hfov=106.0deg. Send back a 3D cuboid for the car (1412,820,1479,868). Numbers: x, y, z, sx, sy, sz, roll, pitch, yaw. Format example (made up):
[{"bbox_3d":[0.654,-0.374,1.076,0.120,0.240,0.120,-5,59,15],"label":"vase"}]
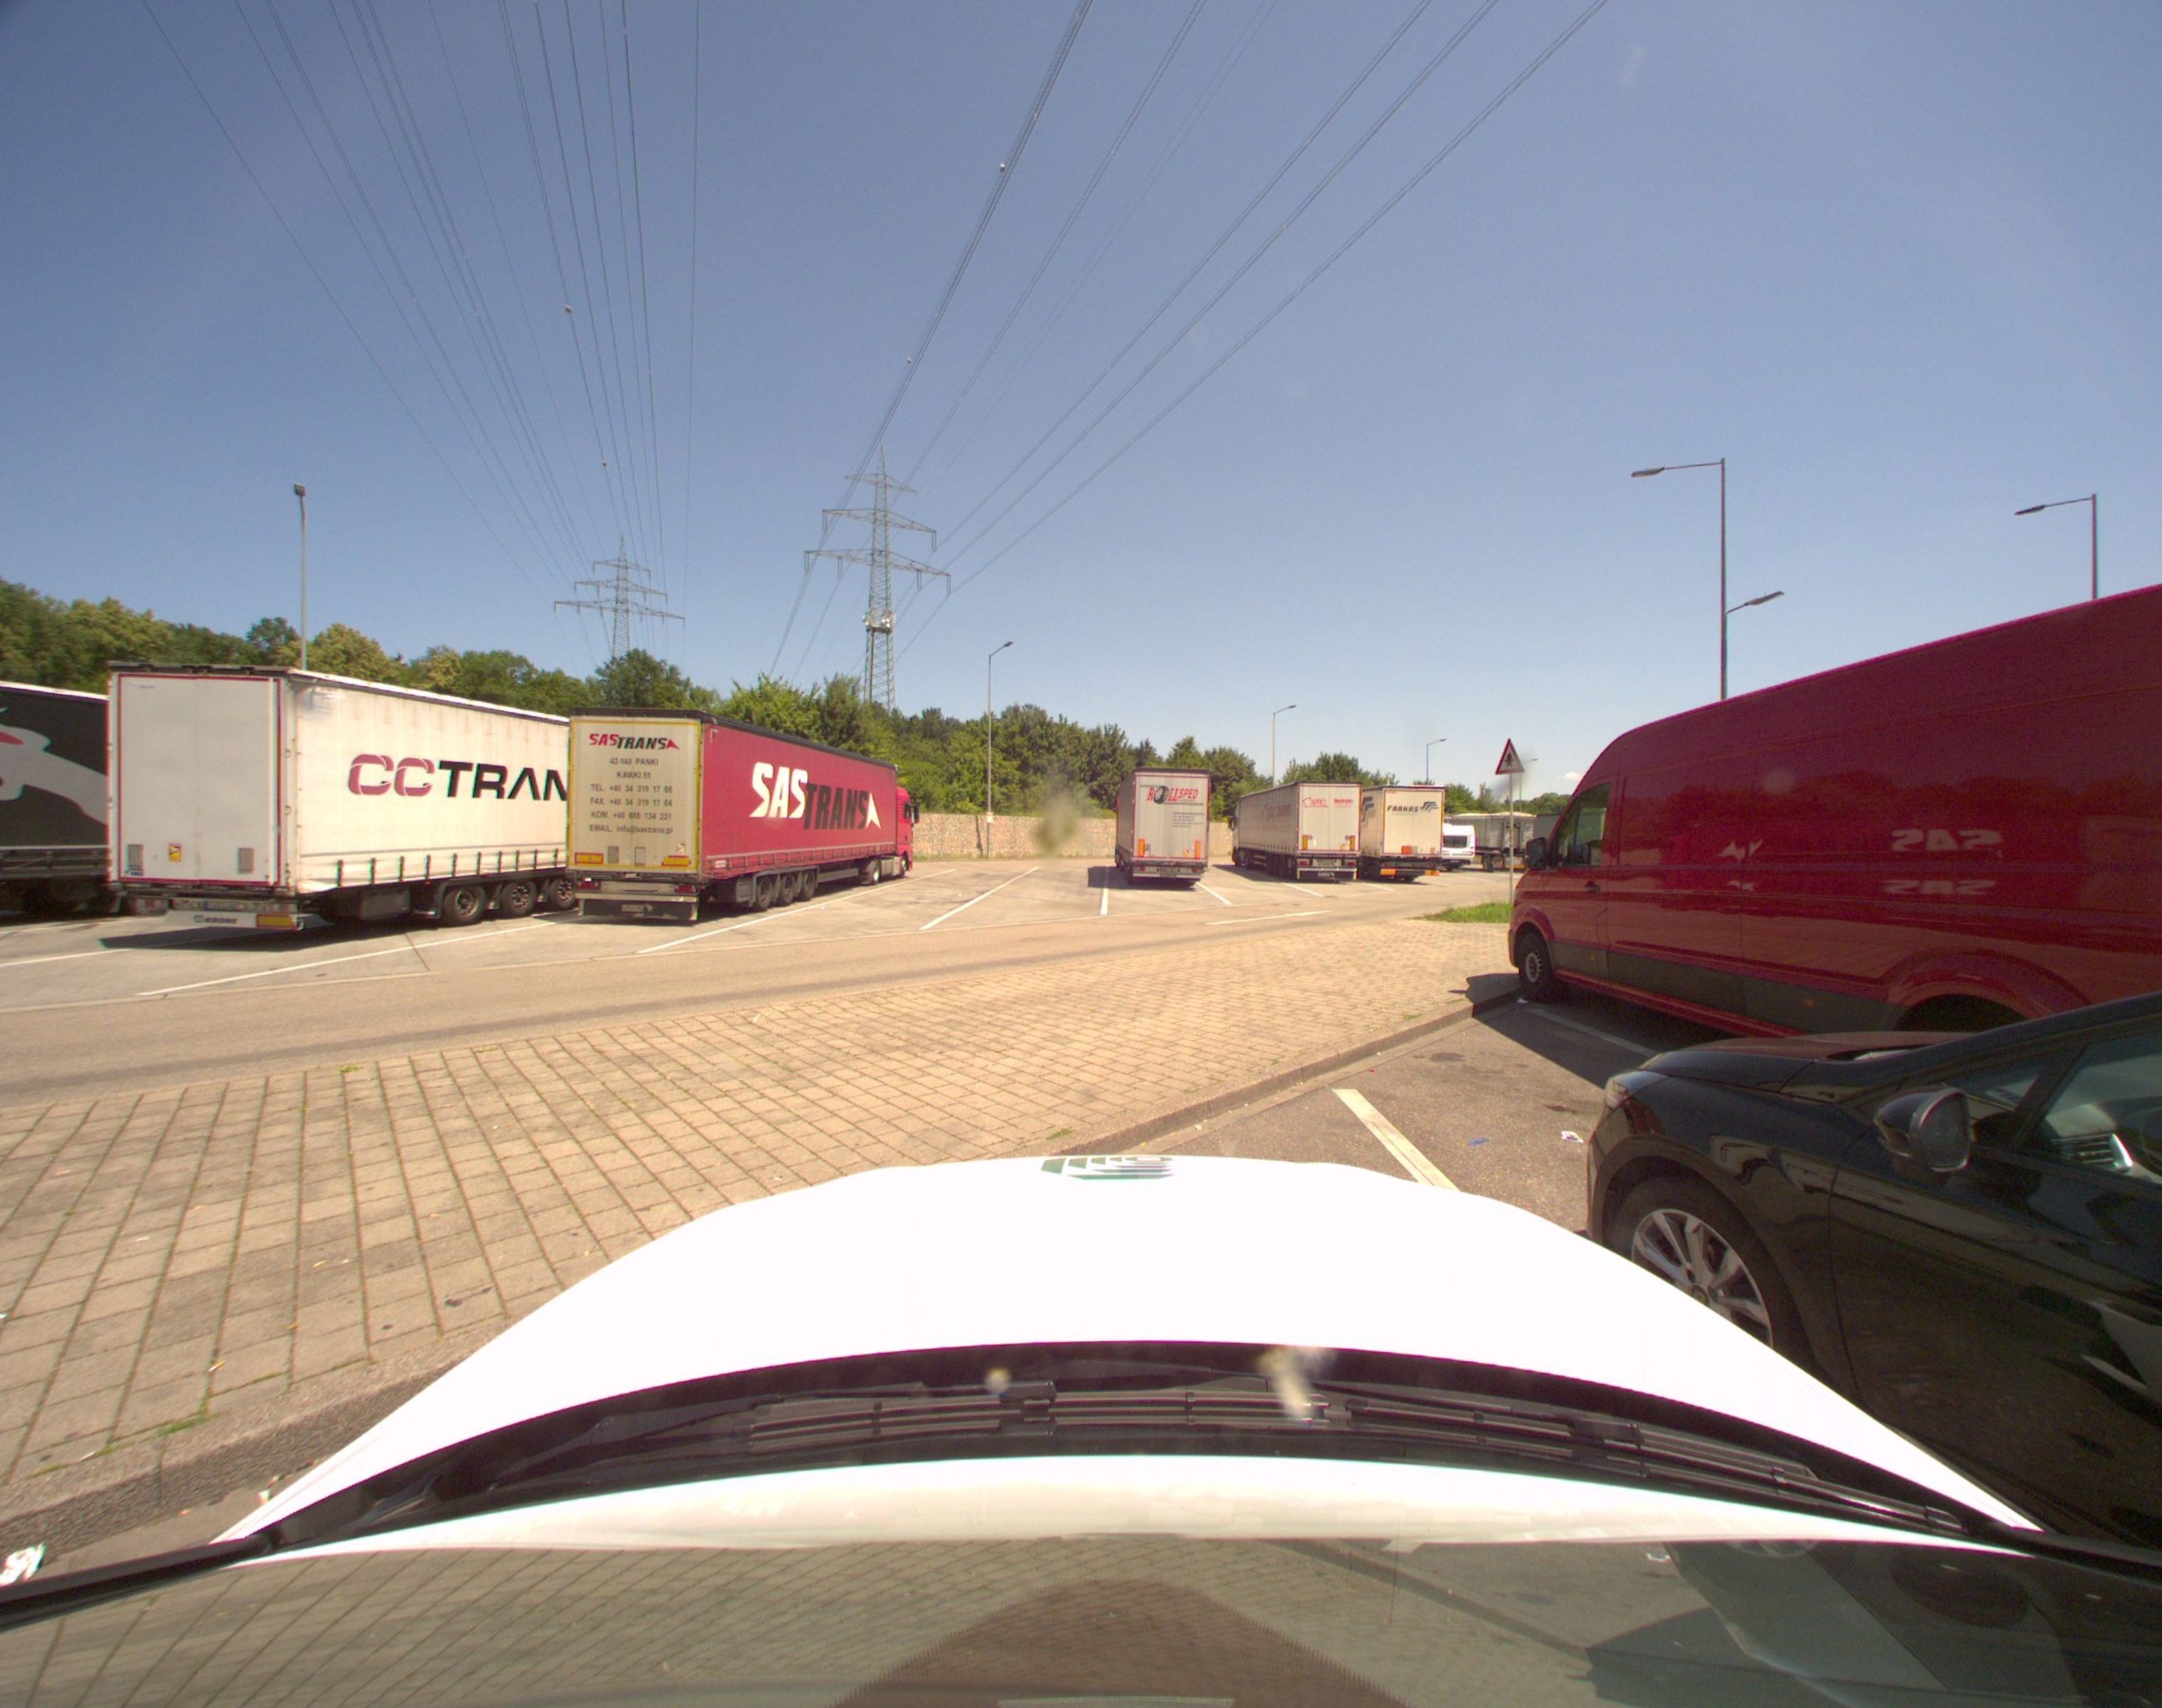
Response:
[{"bbox_3d":[20.549,-0.523,46.142,2.107,2.599,4.001,0,-1,2],"label":"car"}]

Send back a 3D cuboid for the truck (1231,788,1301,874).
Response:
[{"bbox_3d":[10.081,-1.234,44.989,2.651,4.452,5.866,-1,1,2],"label":"truck"}]

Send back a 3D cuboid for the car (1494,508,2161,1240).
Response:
[{"bbox_3d":[5.130,0.027,5.506,1.984,2.633,6.393,-1,1,5],"label":"car"}]

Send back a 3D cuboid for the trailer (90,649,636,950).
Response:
[{"bbox_3d":[-12.176,-0.812,15.395,2.744,4.152,8.291,0,1,2],"label":"trailer"}]

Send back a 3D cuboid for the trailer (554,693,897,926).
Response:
[{"bbox_3d":[-7.990,-0.899,21.469,2.789,4.219,13.208,-1,1,2],"label":"trailer"}]

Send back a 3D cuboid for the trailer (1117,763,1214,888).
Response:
[{"bbox_3d":[3.006,-1.005,32.117,2.886,4.013,11.320,-1,1,1],"label":"trailer"}]

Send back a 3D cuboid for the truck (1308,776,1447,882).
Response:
[{"bbox_3d":[13.545,-0.945,38.611,2.577,4.226,11.974,0,-1,2],"label":"truck"}]

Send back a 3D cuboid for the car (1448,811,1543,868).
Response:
[{"bbox_3d":[24.147,-0.827,47.764,2.490,3.074,6.353,-1,1,2],"label":"car"}]

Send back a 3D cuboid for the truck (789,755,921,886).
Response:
[{"bbox_3d":[-7.740,-1.103,28.725,2.795,4.133,5.896,-1,1,2],"label":"truck"}]

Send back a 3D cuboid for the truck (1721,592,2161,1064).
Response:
[{"bbox_3d":[7.803,-0.156,6.033,2.508,2.827,4.821,0,-1,3],"label":"truck"}]

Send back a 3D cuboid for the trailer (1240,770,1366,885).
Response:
[{"bbox_3d":[9.914,-1.118,38.156,2.672,4.452,12.833,-1,1,1],"label":"trailer"}]

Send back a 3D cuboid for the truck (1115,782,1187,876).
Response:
[{"bbox_3d":[3.119,-1.094,37.808,2.861,3.980,6.030,-1,1,1],"label":"truck"}]

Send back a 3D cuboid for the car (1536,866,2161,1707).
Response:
[{"bbox_3d":[2.523,0.759,0.938,1.773,1.457,3.680,0,-1,-4],"label":"car"}]

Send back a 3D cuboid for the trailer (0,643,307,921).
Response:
[{"bbox_3d":[-18.554,-1.170,14.910,2.668,4.444,6.151,-1,1,2],"label":"trailer"}]
